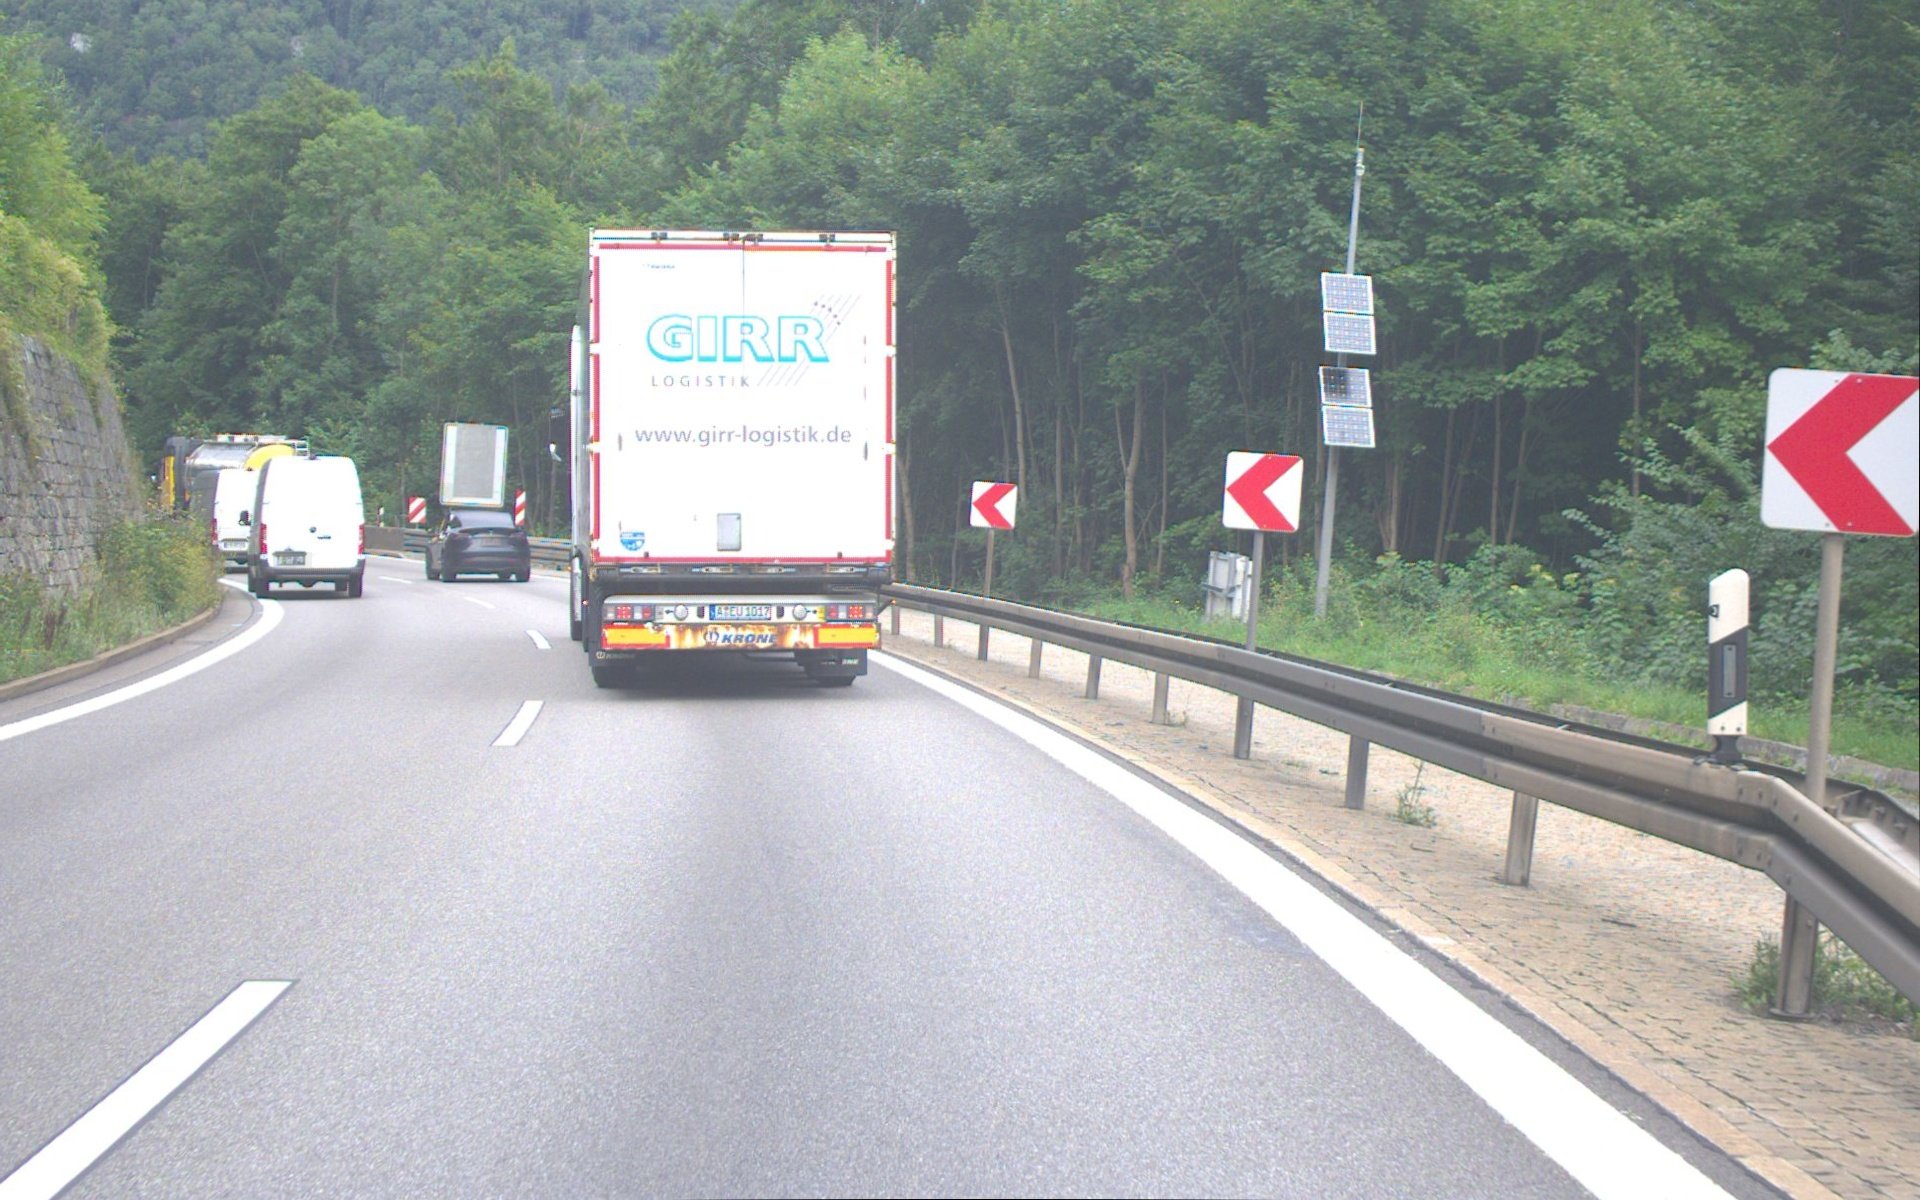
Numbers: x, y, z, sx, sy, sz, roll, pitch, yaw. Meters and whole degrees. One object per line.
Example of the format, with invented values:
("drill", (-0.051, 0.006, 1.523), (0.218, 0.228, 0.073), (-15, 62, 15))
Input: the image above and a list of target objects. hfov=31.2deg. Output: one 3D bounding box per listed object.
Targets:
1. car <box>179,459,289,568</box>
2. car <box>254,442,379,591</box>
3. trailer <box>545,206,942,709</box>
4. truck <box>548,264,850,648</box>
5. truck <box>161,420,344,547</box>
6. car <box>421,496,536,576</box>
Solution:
("car", (-18.911, -2.291, 89.358), (1.939, 2.663, 5.993), (2, 1, -20))
("car", (-12.562, -1.652, 66.797), (1.988, 2.663, 6.939), (2, 1, -13))
("trailer", (-2.472, -1.459, 34.294), (3.057, 3.972, 12.140), (3, 3, -7))
("truck", (-3.226, -1.723, 40.666), (3.057, 3.972, 7.189), (3, 3, -7))
("truck", (-23.653, -3.914, 114.249), (3.057, 3.972, 13.702), (-1, 3, -24))
("car", (-10.846, -1.451, 77.190), (1.993, 1.656, 4.002), (2, 1, -15))
